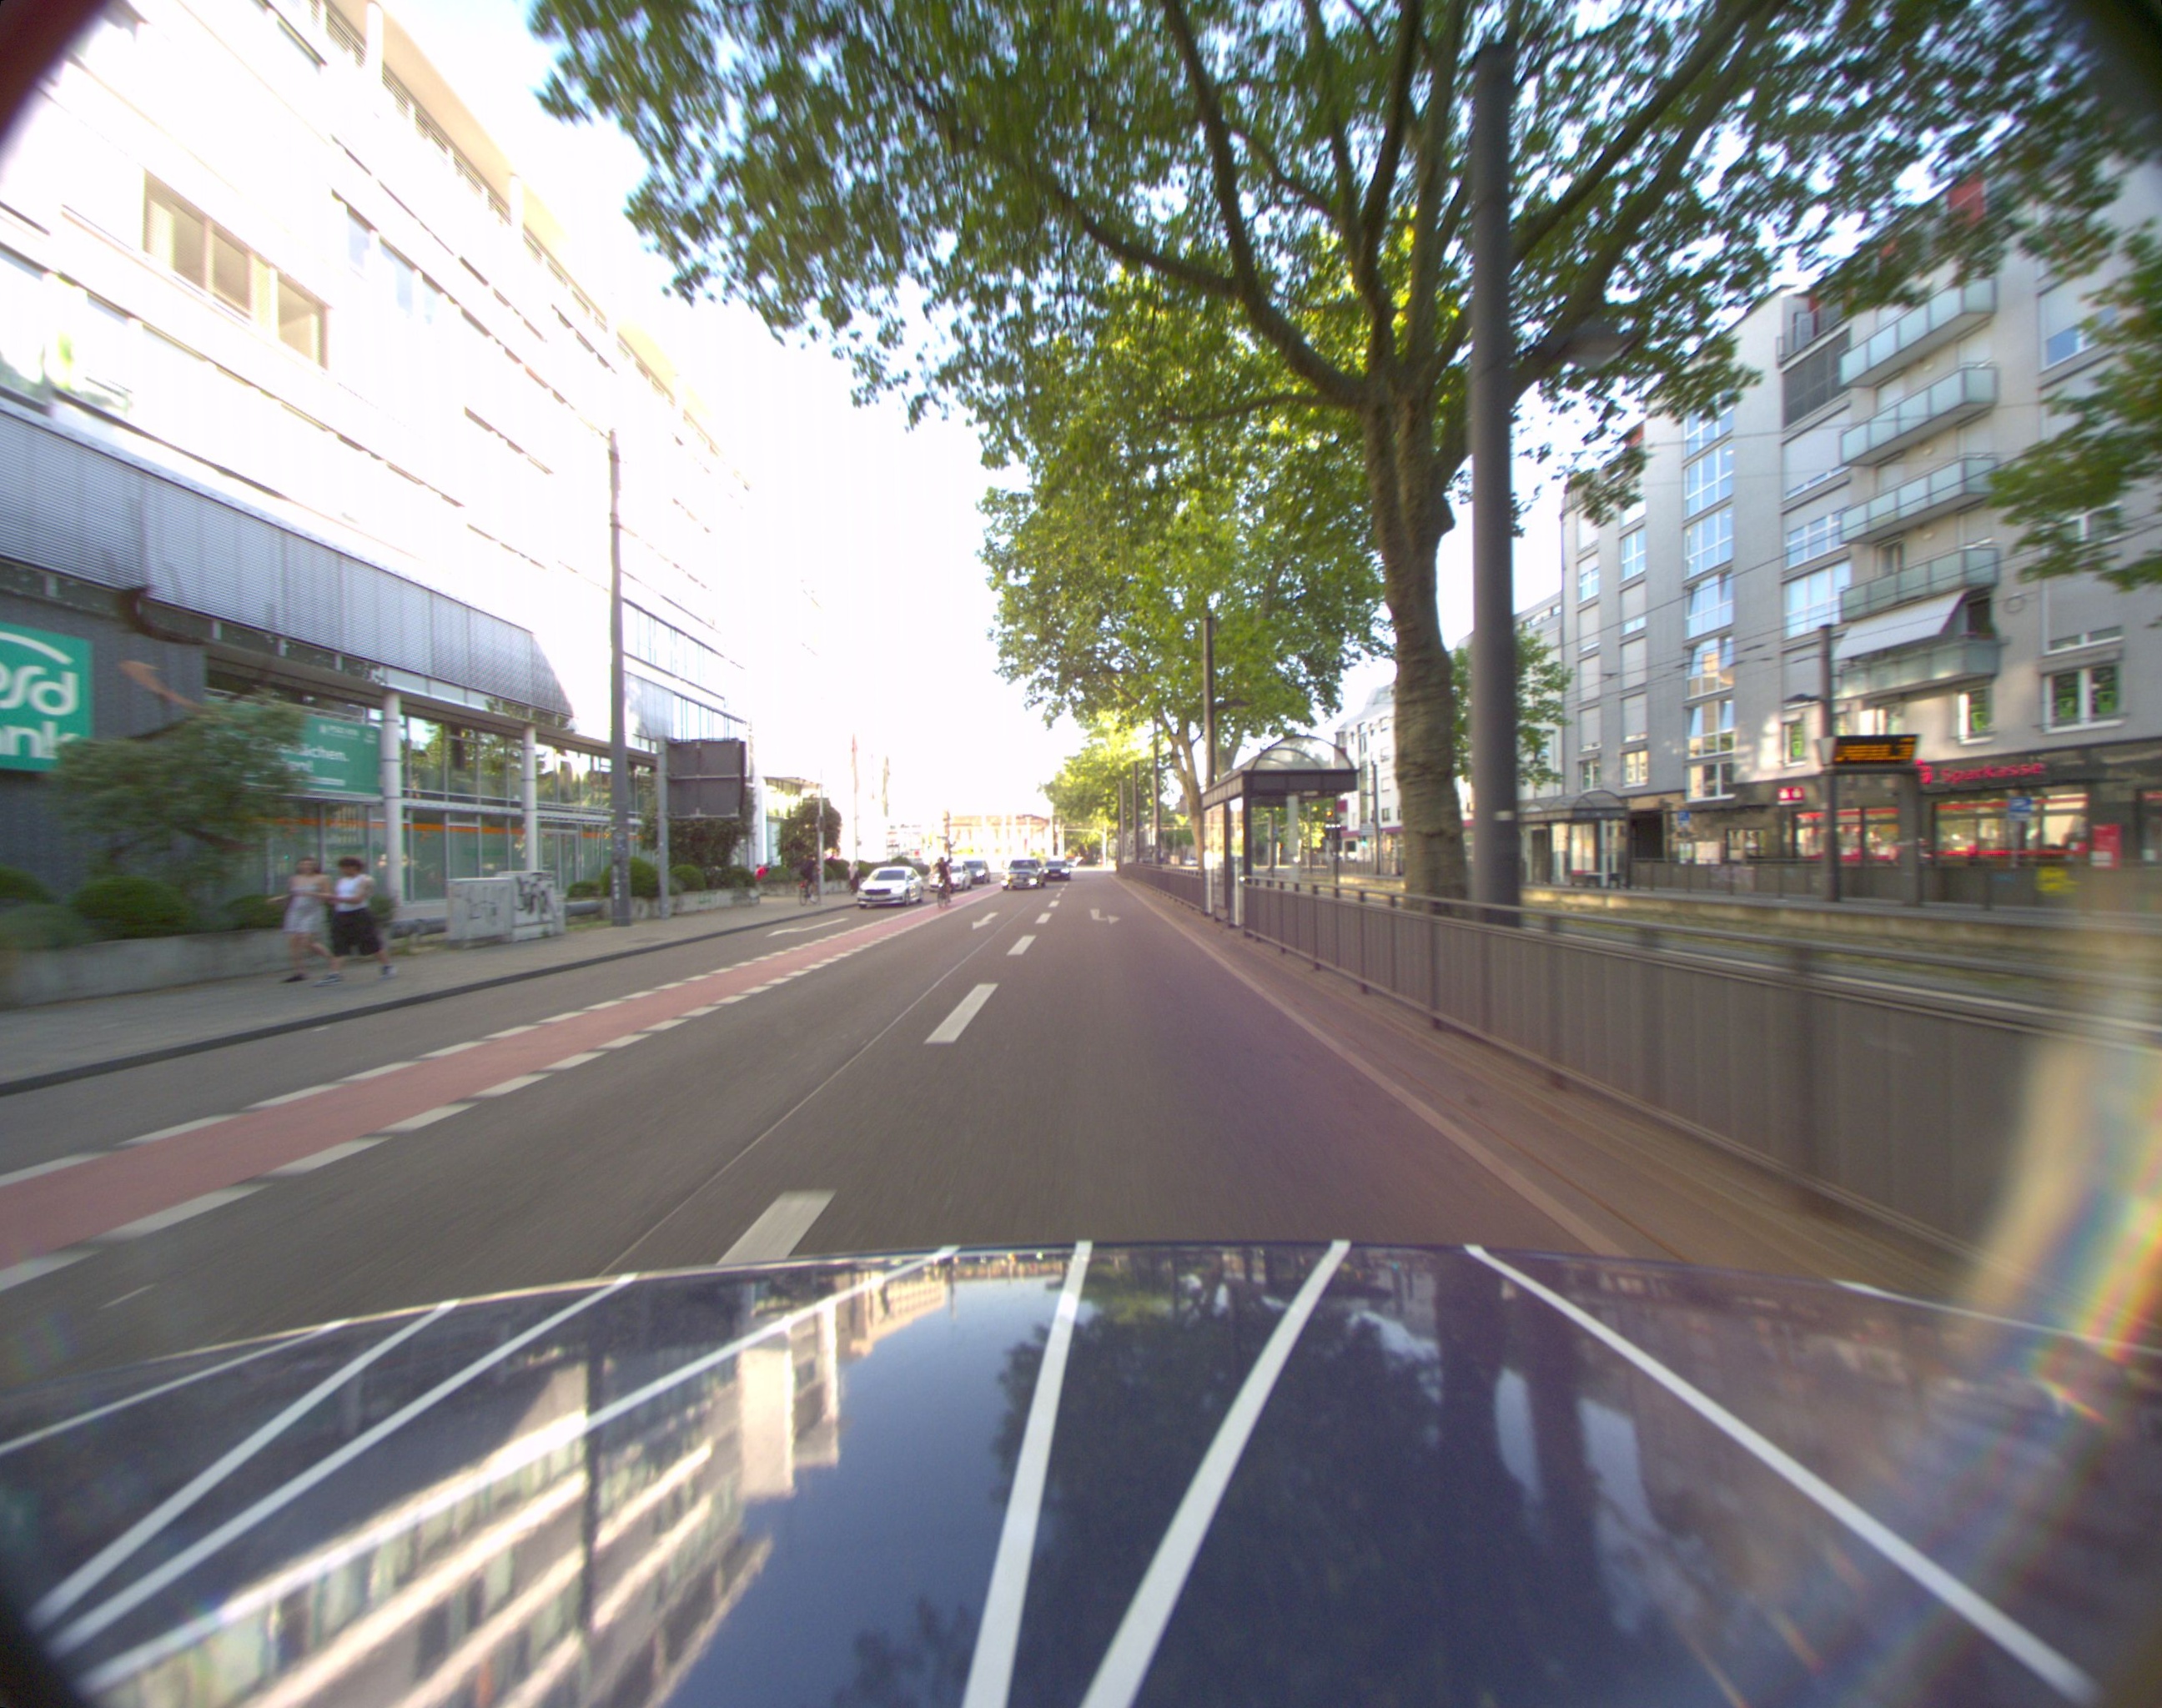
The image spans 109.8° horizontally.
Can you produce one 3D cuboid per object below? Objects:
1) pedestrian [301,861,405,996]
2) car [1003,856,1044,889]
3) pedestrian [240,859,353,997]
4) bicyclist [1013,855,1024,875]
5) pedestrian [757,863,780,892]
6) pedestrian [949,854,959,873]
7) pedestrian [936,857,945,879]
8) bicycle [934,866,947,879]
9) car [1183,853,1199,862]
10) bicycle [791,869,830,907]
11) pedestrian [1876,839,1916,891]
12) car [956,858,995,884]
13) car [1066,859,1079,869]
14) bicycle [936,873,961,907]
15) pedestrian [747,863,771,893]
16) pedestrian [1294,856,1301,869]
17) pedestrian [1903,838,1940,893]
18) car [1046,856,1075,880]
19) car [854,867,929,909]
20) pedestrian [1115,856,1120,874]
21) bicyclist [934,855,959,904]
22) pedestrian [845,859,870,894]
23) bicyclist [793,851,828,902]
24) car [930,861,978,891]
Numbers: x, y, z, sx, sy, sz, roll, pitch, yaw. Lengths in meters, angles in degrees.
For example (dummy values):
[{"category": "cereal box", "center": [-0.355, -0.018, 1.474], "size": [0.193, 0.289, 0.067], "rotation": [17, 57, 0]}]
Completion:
[{"category": "pedestrian", "center": [-10.078, 0.995, 10.556], "size": [0.564, 1.798, 0.891], "rotation": [0, 1, 0]}, {"category": "car", "center": [-2.960, 0.917, 39.980], "size": [1.785, 1.628, 4.022], "rotation": [-1, 0, 1]}, {"category": "pedestrian", "center": [-10.731, 0.976, 10.425], "size": [0.591, 1.798, 0.896], "rotation": [0, 1, 0]}, {"category": "bicyclist", "center": [-4.433, 0.794, 54.019], "size": [0.685, 1.372, 0.867], "rotation": [-1, 1, 0]}, {"category": "pedestrian", "center": [-13.909, 1.021, 33.831], "size": [0.785, 1.264, 0.543], "rotation": [-1, 1, -4]}, {"category": "pedestrian", "center": [-10.637, 0.830, 63.730], "size": [0.693, 1.573, 0.664], "rotation": [2, 1, 1]}, {"category": "pedestrian", "center": [-9.860, 0.975, 53.290], "size": [0.527, 1.573, 0.589], "rotation": [2, 1, 1]}, {"category": "bicycle", "center": [-9.870, 1.323, 53.429], "size": [0.499, 0.841, 1.903], "rotation": [3, 0, 1]}, {"category": "car", "center": [18.085, 0.580, 125.046], "size": [1.998, 1.455, 4.000], "rotation": [-1, 0, 0]}, {"category": "bicycle", "center": [-9.763, 1.205, 27.481], "size": [0.665, 1.268, 1.928], "rotation": [2, 0, 1]}, {"category": "pedestrian", "center": [27.847, 0.365, 25.958], "size": [0.503, 1.760, 0.784], "rotation": [-2, 1, 0]}, {"category": "car", "center": [-6.938, 1.109, 50.177], "size": [1.998, 1.586, 4.000], "rotation": [-1, 0, 0]}, {"category": "car", "center": [-1.343, 1.508, 120.290], "size": [1.827, 1.416, 4.345], "rotation": [-2, 0, -2]}, {"category": "bicycle", "center": [-4.660, 1.242, 26.842], "size": [0.551, 1.114, 2.126], "rotation": [0, 0, -1]}, {"category": "pedestrian", "center": [-13.970, 1.030, 33.006], "size": [0.752, 1.264, 0.693], "rotation": [-1, 1, -4]}, {"category": "pedestrian", "center": [28.485, 1.097, 100.156], "size": [0.602, 1.694, 0.670], "rotation": [-1, 2, 39]}, {"category": "pedestrian", "center": [27.723, 0.380, 25.075], "size": [0.503, 1.760, 0.629], "rotation": [-2, 1, 0]}, {"category": "car", "center": [-1.365, 0.895, 50.336], "size": [1.827, 1.416, 4.345], "rotation": [-2, 0, -2]}, {"category": "car", "center": [-7.031, 1.227, 28.583], "size": [1.786, 1.411, 4.021], "rotation": [-1, 0, 0]}, {"category": "pedestrian", "center": [3.170, 0.962, 65.308], "size": [0.389, 1.558, 0.336], "rotation": [-1, 1, 6]}, {"category": "bicyclist", "center": [-4.741, 0.886, 26.853], "size": [0.752, 1.678, 0.714], "rotation": [0, 0, -2]}, {"category": "pedestrian", "center": [-10.065, 1.008, 34.230], "size": [0.753, 1.565, 0.912], "rotation": [-1, 1, 3]}, {"category": "bicyclist", "center": [-9.751, 0.800, 27.445], "size": [0.743, 1.752, 1.209], "rotation": [2, 0, 1]}, {"category": "car", "center": [-6.677, 1.154, 40.402], "size": [1.671, 1.455, 3.870], "rotation": [-1, 0, 3]}]
